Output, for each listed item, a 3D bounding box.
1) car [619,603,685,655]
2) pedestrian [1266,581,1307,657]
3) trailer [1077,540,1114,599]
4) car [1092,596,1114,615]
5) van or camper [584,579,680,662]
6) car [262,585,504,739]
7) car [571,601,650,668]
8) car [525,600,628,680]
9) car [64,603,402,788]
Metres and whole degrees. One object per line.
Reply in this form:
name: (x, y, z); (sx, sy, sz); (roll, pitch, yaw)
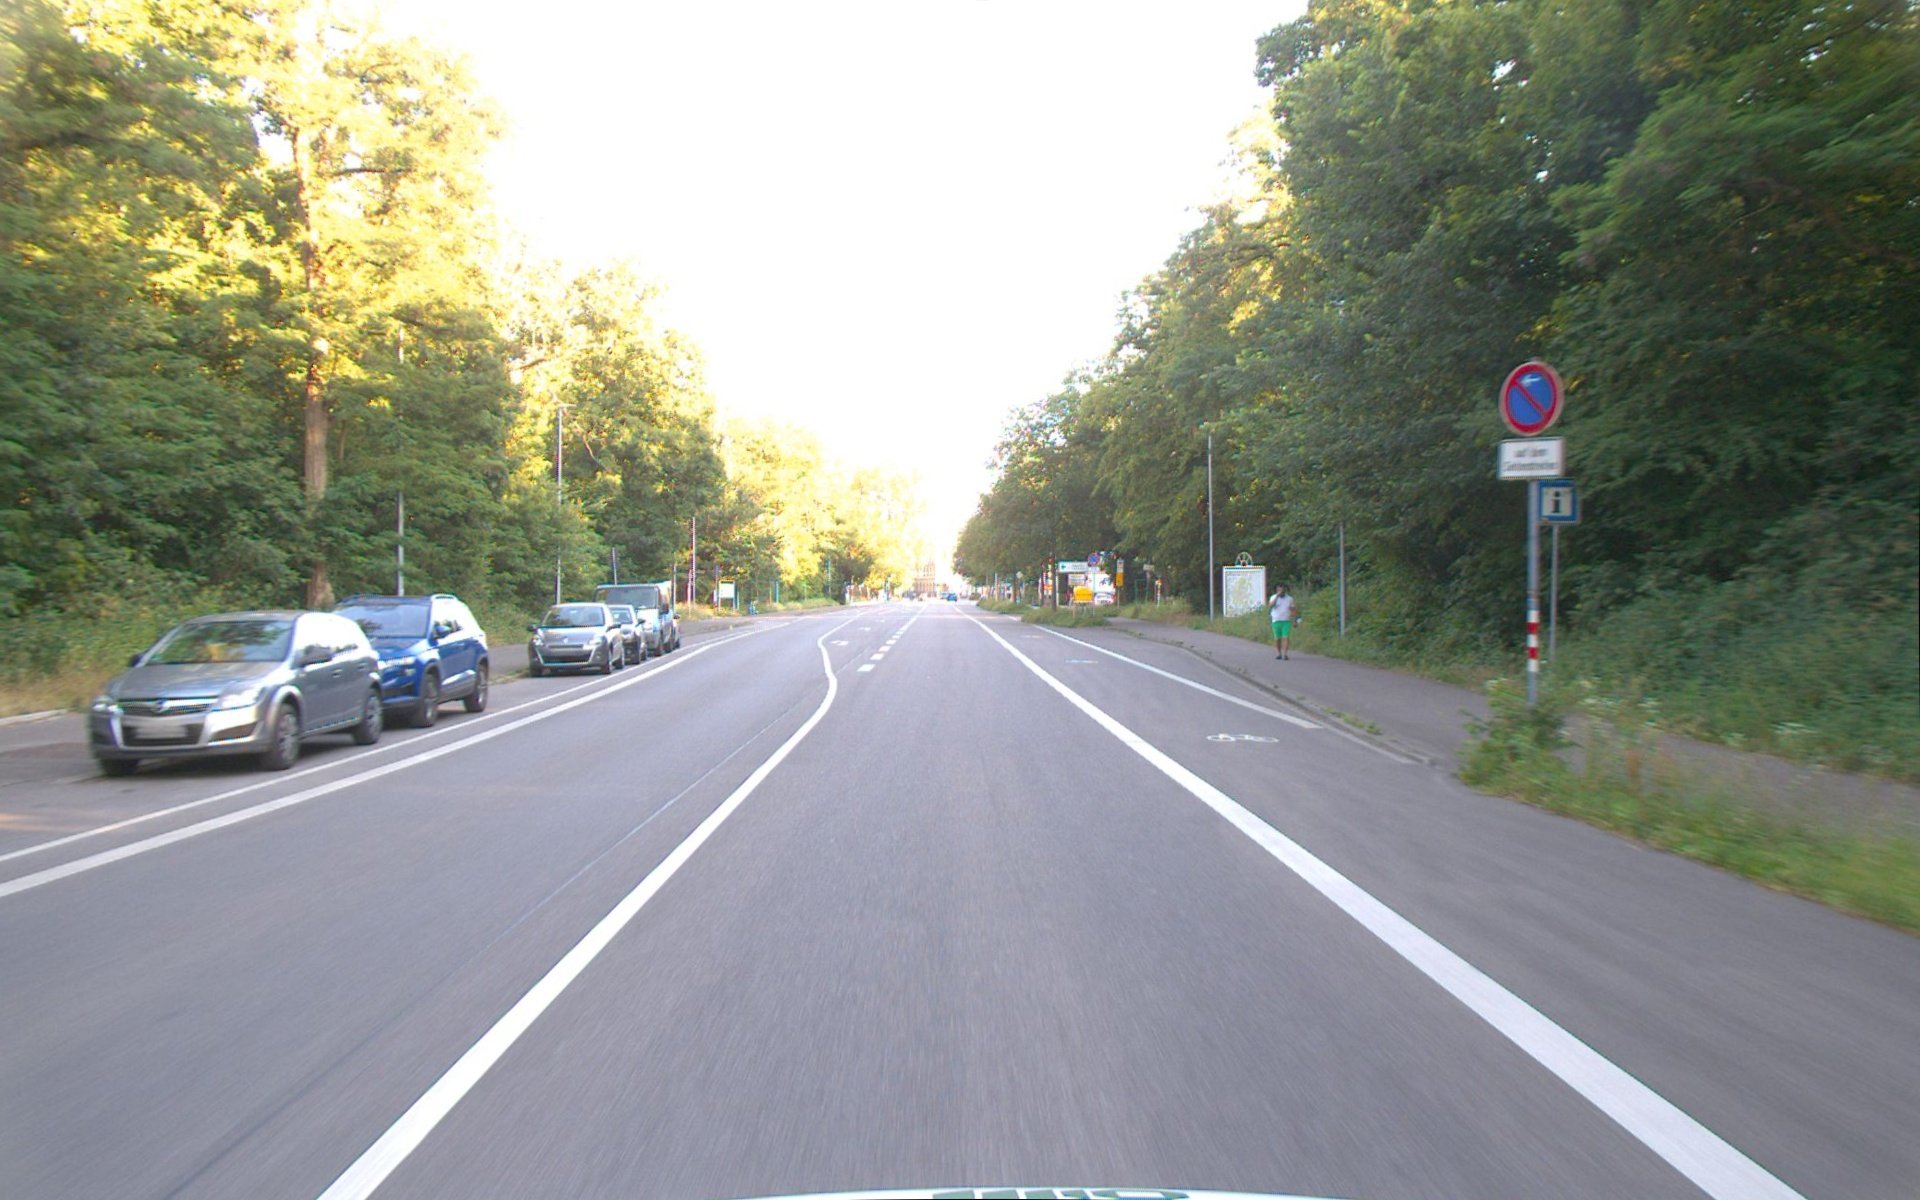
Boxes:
car: (-9.680, 0.875, 52.202); (1.654, 1.487, 4.238); (-2, 0, -6)
pedestrian: (7.686, 0.437, 38.989); (0.821, 1.782, 0.726); (0, 0, 0)
trailer: (13.156, -2.938, 160.757); (2.958, 5.557, 7.934); (0, 0, 0)
car: (12.784, 0.505, 148.257); (1.733, 1.611, 4.821); (1, 0, 3)
van or camper: (-9.149, 0.530, 46.474); (1.992, 2.130, 5.009); (-2, 0, -5)
car: (-7.373, 0.719, 21.622); (1.710, 1.741, 4.520); (-2, 0, -3)
car: (-8.575, 0.817, 40.830); (1.513, 1.519, 3.966); (-2, 0, -7)
car: (-8.133, 0.804, 35.337); (1.585, 1.561, 4.035); (-2, 0, -6)
car: (-7.082, 0.839, 16.609); (1.635, 1.527, 4.244); (-2, 0, -3)
